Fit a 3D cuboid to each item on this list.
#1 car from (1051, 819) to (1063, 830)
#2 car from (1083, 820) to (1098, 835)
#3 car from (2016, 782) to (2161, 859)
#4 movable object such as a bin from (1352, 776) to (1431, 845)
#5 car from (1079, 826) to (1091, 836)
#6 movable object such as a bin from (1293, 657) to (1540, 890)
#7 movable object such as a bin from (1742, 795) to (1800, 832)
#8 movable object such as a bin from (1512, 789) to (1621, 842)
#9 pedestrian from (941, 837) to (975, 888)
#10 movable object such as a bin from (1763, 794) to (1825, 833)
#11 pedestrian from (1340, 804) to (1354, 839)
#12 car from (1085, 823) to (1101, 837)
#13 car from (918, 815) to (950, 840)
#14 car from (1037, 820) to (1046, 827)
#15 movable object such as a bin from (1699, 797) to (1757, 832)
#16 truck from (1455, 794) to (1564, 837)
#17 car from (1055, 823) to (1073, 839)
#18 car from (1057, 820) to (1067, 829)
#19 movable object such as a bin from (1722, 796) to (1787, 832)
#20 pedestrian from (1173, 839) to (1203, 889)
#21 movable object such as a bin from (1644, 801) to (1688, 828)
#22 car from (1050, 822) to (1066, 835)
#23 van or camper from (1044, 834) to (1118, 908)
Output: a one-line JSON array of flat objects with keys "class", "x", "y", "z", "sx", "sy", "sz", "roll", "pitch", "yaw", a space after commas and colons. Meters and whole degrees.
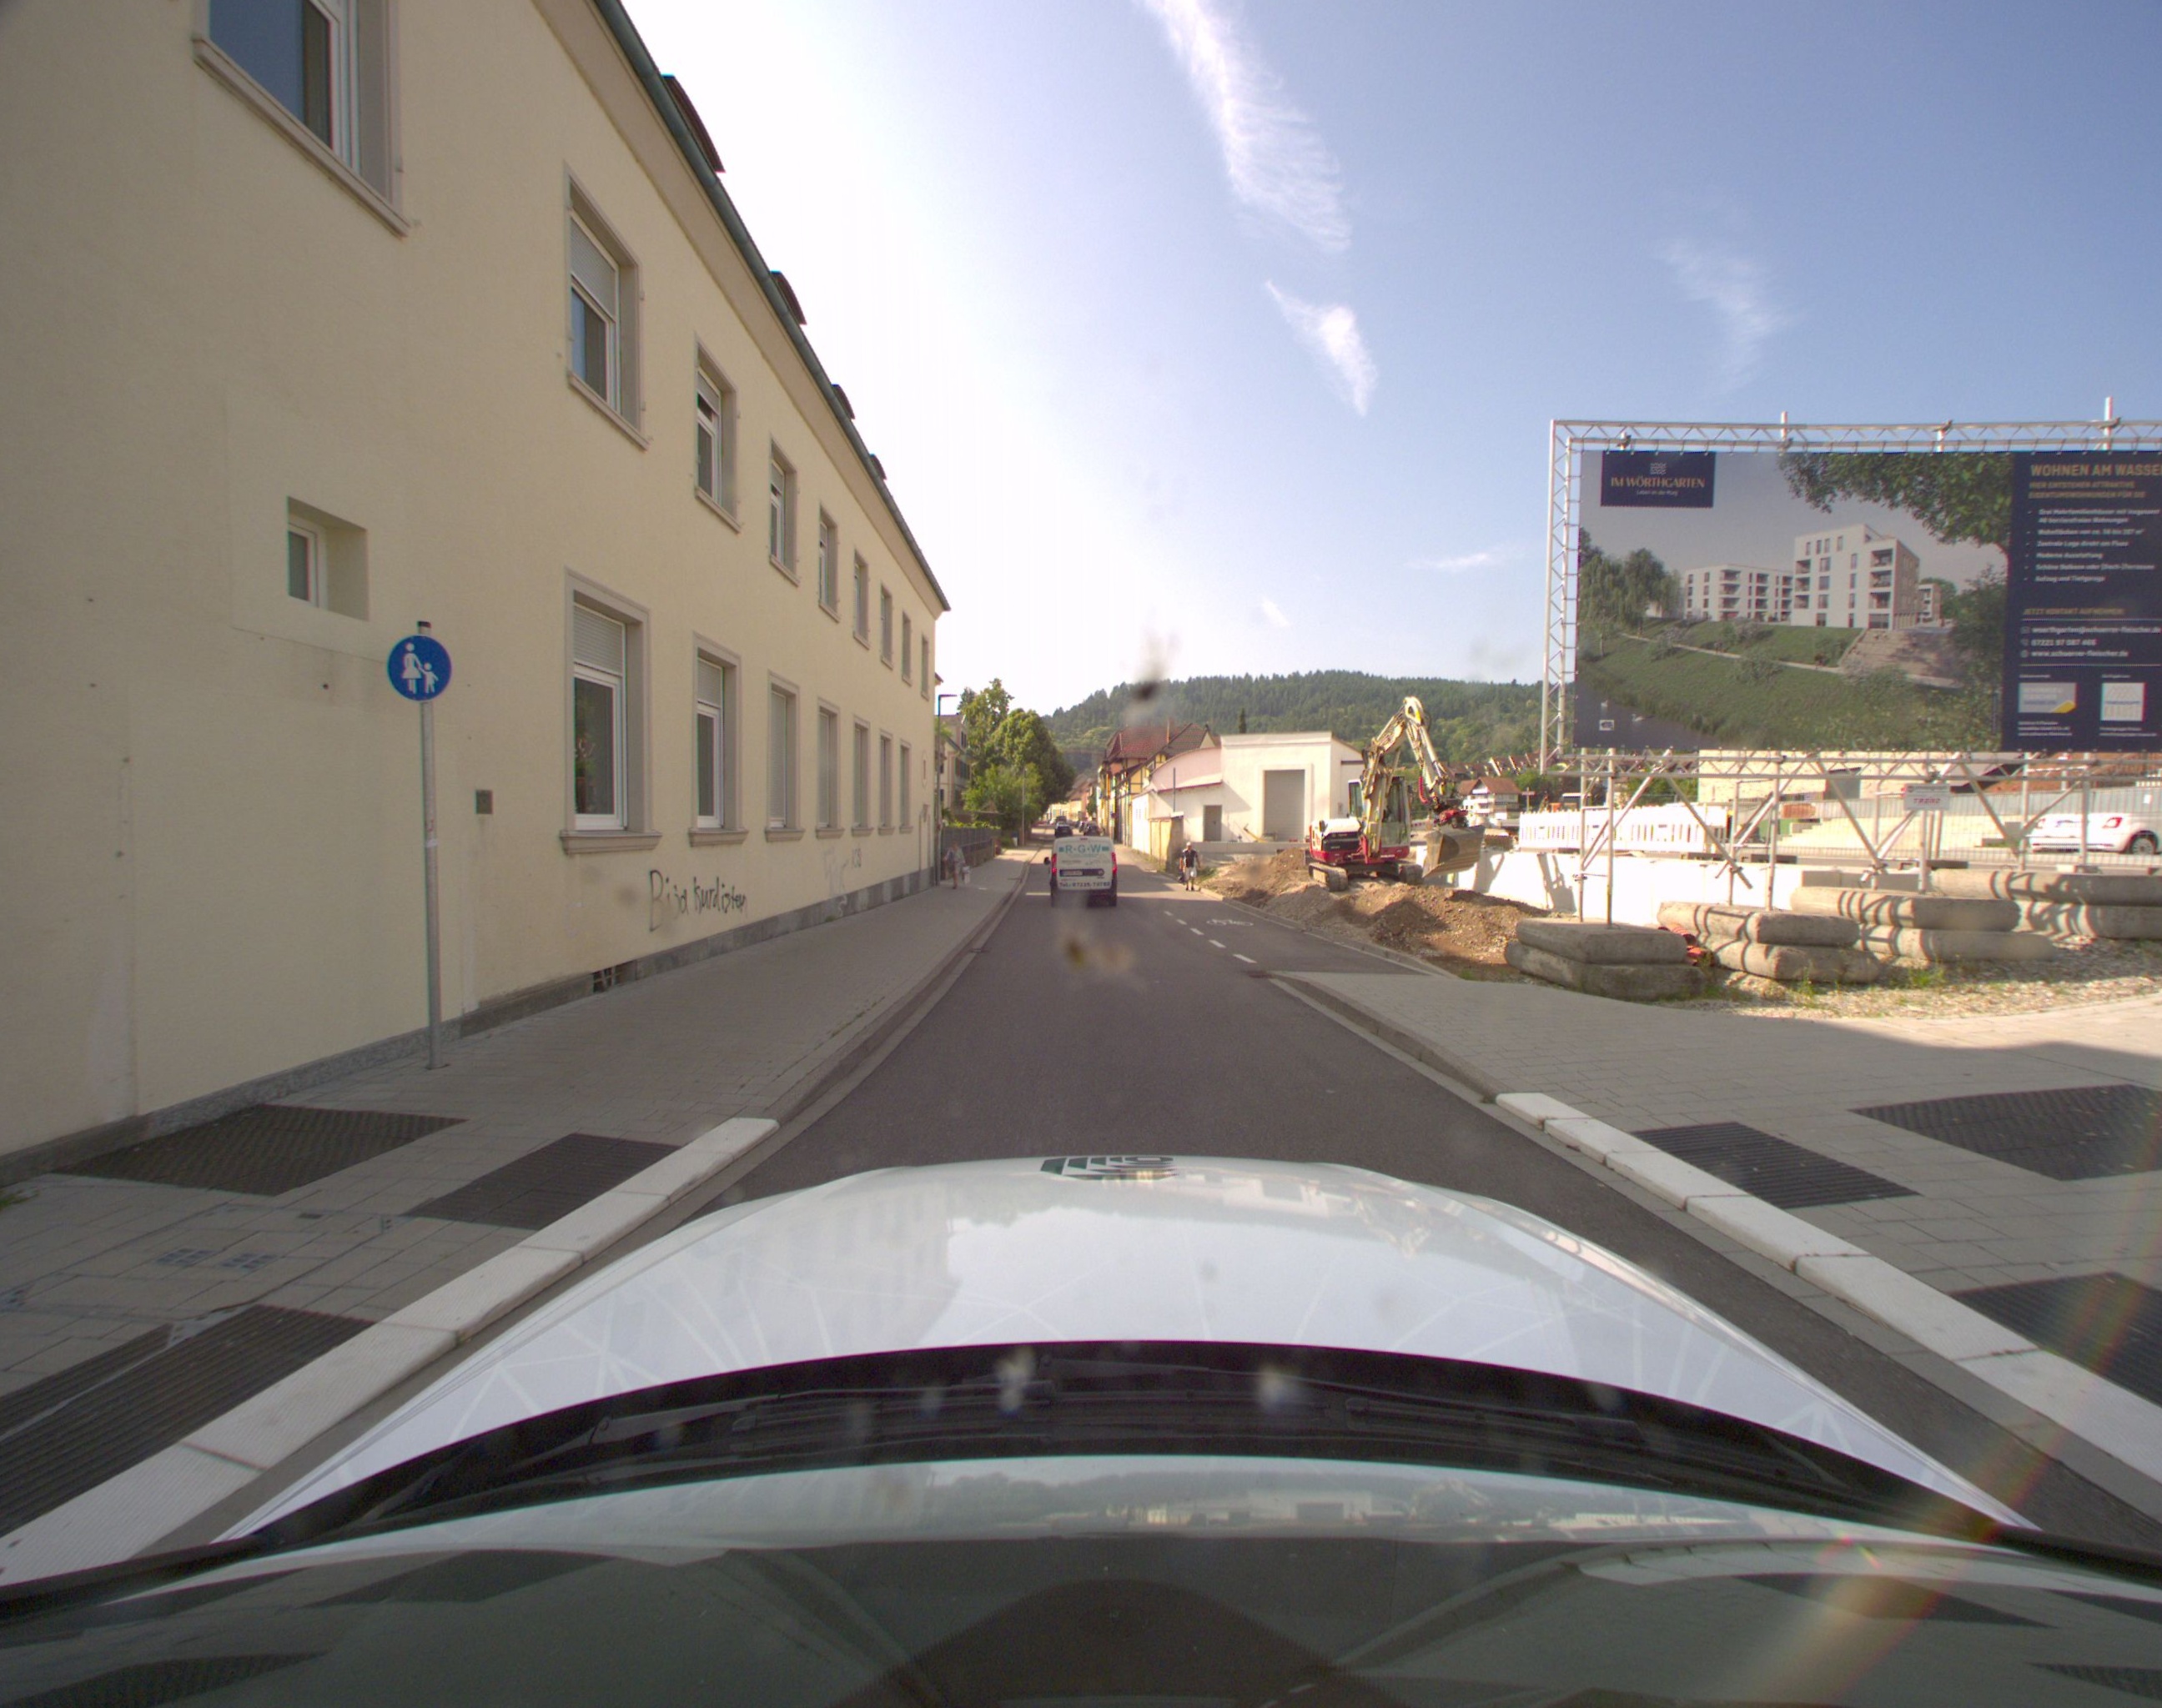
[{"class": "car", "x": -6.242, "y": -7.554, "z": 208.399, "sx": 2.869, "sy": 2.835, "sz": 6.118, "roll": 0, "pitch": 2, "yaw": -3}, {"class": "car", "x": 1.271, "y": -3.670, "z": 111.658, "sx": 1.866, "sy": 2.013, "sz": 3.998, "roll": 1, "pitch": 2, "yaw": -2}, {"class": "car", "x": 21.875, "y": -0.682, "z": 16.835, "sx": 3.396, "sy": 1.495, "sz": 1.593, "roll": -1, "pitch": 0, "yaw": -3}, {"class": "movable object such as a bin", "x": 17.742, "y": -2.445, "z": 46.374, "sx": 2.823, "sy": 3.620, "sz": 5.773, "roll": 5, "pitch": 3, "yaw": 33}, {"class": "car", "x": 0.604, "y": -3.640, "z": 128.088, "sx": 1.666, "sy": 1.507, "sz": 3.996, "roll": 0, "pitch": 2, "yaw": -3}, {"class": "movable object such as a bin", "x": 6.718, "y": -1.488, "z": 17.763, "sx": 2.286, "sy": 3.853, "sz": 7.805, "roll": 3, "pitch": 2, "yaw": 2}, {"class": "movable object such as a bin", "x": 28.997, "y": -1.695, "z": 34.257, "sx": 1.292, "sy": 1.463, "sz": 1.324, "roll": 3, "pitch": 3, "yaw": 8}, {"class": "movable object such as a bin", "x": 24.621, "y": -1.923, "z": 41.520, "sx": 4.571, "sy": 2.569, "sz": 1.936, "roll": 0, "pitch": 1, "yaw": 24}, {"class": "pedestrian", "x": -3.994, "y": 0.265, "z": 26.430, "sx": 0.955, "sy": 1.631, "sz": 0.757, "roll": 1, "pitch": 1, "yaw": -2}, {"class": "movable object such as a bin", "x": 28.772, "y": -1.633, "z": 32.883, "sx": 1.292, "sy": 1.463, "sz": 1.324, "roll": 3, "pitch": 3, "yaw": 8}, {"class": "pedestrian", "x": 14.806, "y": -1.808, "z": 45.361, "sx": 0.629, "sy": 1.896, "sz": 0.610, "roll": 3, "pitch": 3, "yaw": 15}, {"class": "car", "x": 1.481, "y": -3.019, "z": 101.510, "sx": 1.805, "sy": 1.596, "sz": 3.926, "roll": 3, "pitch": 3, "yaw": -1}, {"class": "car", "x": -11.889, "y": -2.174, "z": 66.096, "sx": 1.819, "sy": 1.772, "sz": 4.678, "roll": 4, "pitch": 2, "yaw": -3}, {"class": "car", "x": -10.743, "y": -8.410, "z": 221.475, "sx": 1.773, "sy": 1.798, "sz": 3.984, "roll": 0, "pitch": 2, "yaw": -13}, {"class": "movable object such as a bin", "x": 29.649, "y": -1.809, "z": 37.360, "sx": 1.571, "sy": 1.463, "sz": 1.324, "roll": 3, "pitch": 3, "yaw": 8}, {"class": "truck", "x": 23.847, "y": -2.105, "z": 45.567, "sx": 5.267, "sy": 2.265, "sz": 2.232, "roll": 0, "pitch": 1, "yaw": 24}, {"class": "car", "x": -1.932, "y": -2.536, "z": 89.554, "sx": 1.806, "sy": 1.596, "sz": 3.924, "roll": 3, "pitch": 3, "yaw": -3}, {"class": "car", "x": -3.445, "y": -5.476, "z": 149.635, "sx": 1.805, "sy": 1.596, "sz": 3.926, "roll": 3, "pitch": 3, "yaw": -1}, {"class": "movable object such as a bin", "x": 29.460, "y": -1.748, "z": 35.671, "sx": 1.683, "sy": 1.463, "sz": 1.324, "roll": 3, "pitch": 3, "yaw": 8}, {"class": "pedestrian", "x": 3.752, "y": 0.335, "z": 28.563, "sx": 0.886, "sy": 1.683, "sz": 0.718, "roll": 2, "pitch": 1, "yaw": -2}, {"class": "movable object such as a bin", "x": 29.242, "y": -1.994, "z": 40.733, "sx": 1.288, "sy": 1.267, "sz": 1.324, "roll": 3, "pitch": 3, "yaw": 8}, {"class": "car", "x": -3.056, "y": -3.408, "z": 107.392, "sx": 1.807, "sy": 1.596, "sz": 3.923, "roll": 3, "pitch": 3, "yaw": -4}, {"class": "van or camper", "x": -0.084, "y": 0.423, "z": 22.946, "sx": 1.824, "sy": 1.844, "sz": 4.183, "roll": -1, "pitch": 0, "yaw": -3}]
